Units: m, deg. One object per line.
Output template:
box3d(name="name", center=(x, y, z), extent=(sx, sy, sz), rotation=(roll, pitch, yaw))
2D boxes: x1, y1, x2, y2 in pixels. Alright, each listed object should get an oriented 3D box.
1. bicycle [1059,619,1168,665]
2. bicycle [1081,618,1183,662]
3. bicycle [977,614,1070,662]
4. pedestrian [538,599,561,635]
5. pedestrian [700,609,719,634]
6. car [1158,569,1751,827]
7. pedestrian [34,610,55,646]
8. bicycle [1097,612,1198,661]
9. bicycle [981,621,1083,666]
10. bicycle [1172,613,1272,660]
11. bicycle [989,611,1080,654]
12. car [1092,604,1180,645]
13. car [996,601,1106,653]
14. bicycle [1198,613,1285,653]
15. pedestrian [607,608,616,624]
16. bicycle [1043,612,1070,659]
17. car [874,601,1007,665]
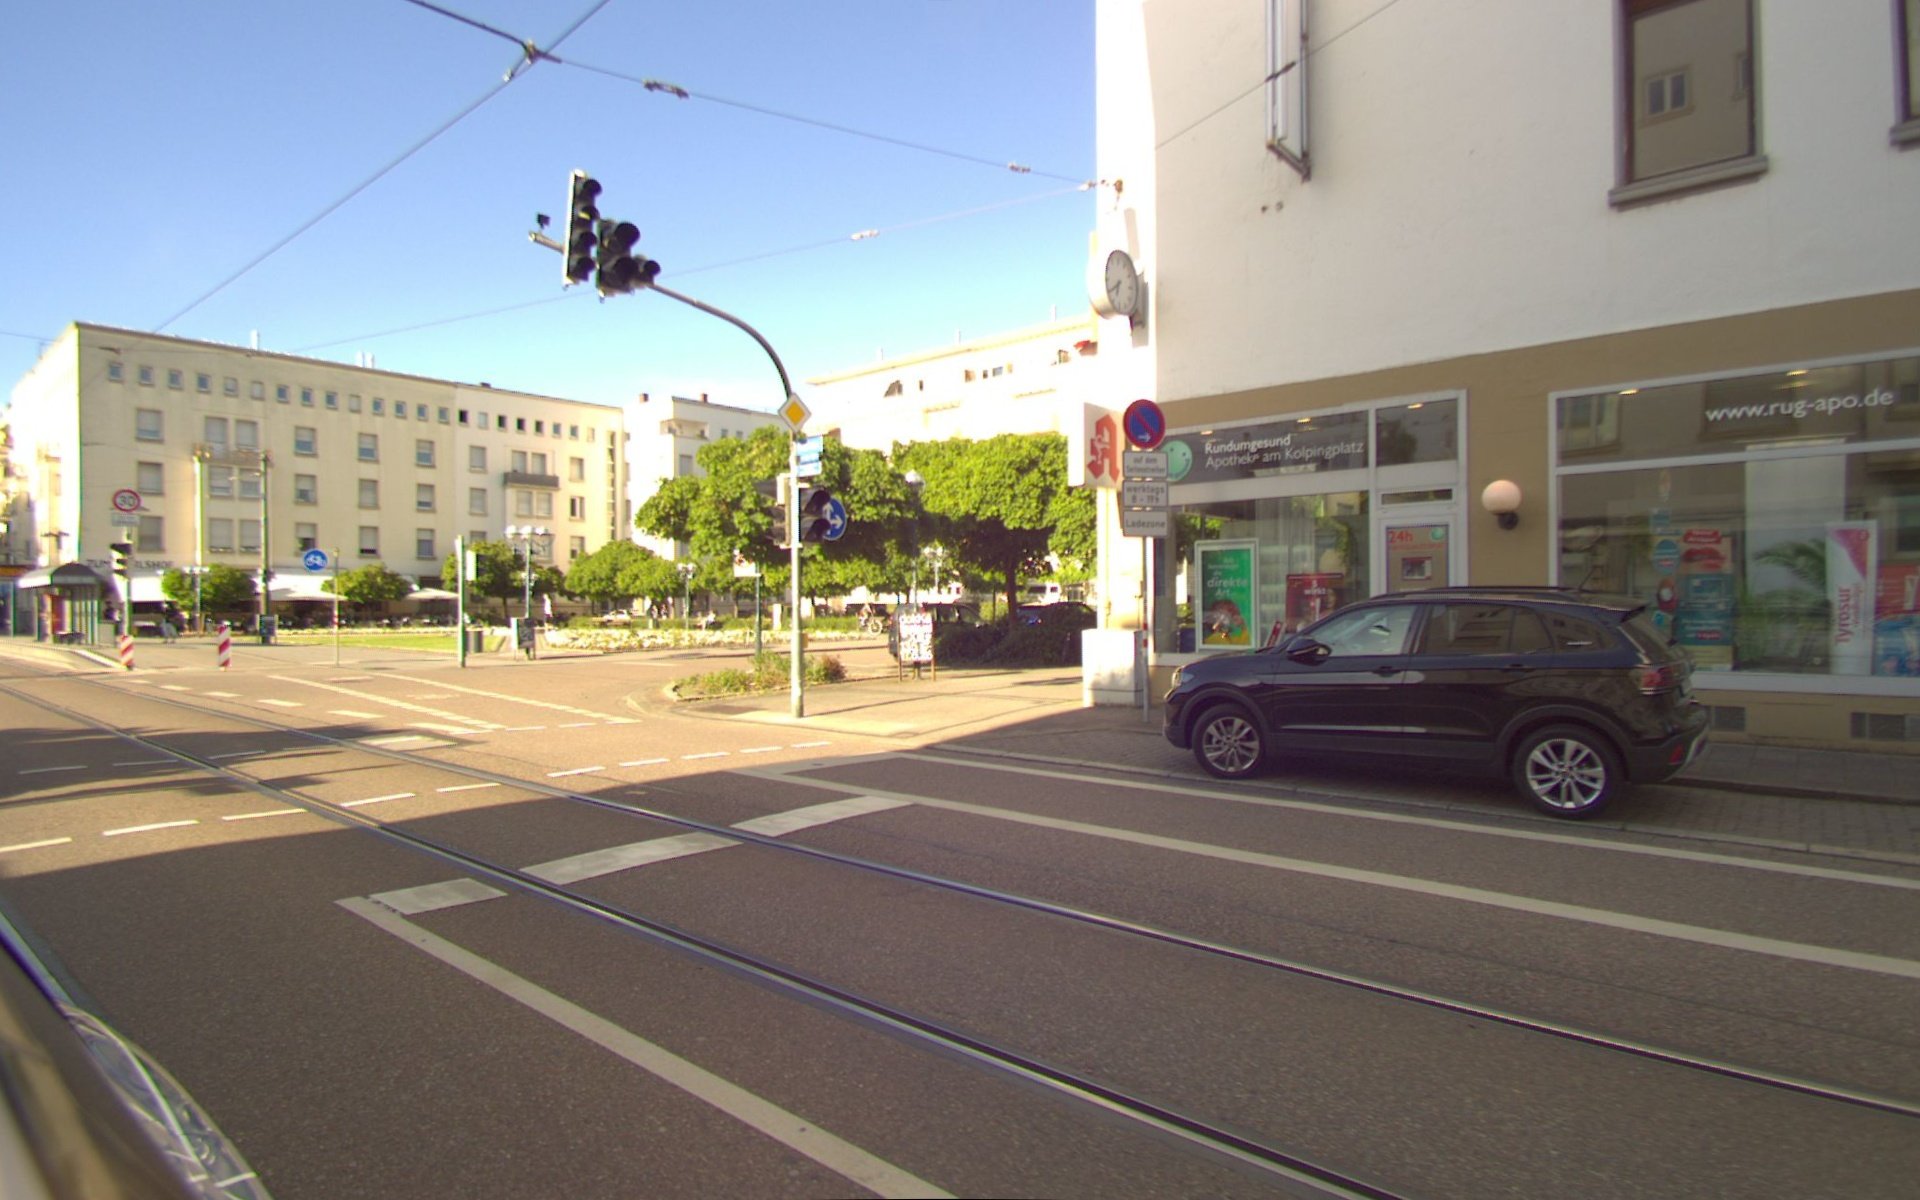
box3d(name="bicycle", center=(3.540, 0.957, 23.517), extent=(2.492, 0.995, 0.745), rotation=(-1, 0, 41))
box3d(name="bicycle", center=(4.058, 0.938, 24.100), extent=(2.436, 0.995, 0.620), rotation=(-1, 0, 41))
box3d(name="bicycle", center=(1.545, 0.909, 25.067), extent=(2.436, 1.133, 0.620), rotation=(-1, 0, 41))
box3d(name="pedestrian", center=(-19.431, 0.793, 47.898), extent=(0.826, 1.708, 0.668), rotation=(-1, 0, -4))
box3d(name="pedestrian", center=(-14.571, 1.219, 58.885), extent=(0.667, 1.428, 0.828), rotation=(-1, 0, 39))
box3d(name="car", center=(3.822, 0.604, 8.234), extent=(3.992, 1.564, 1.764), rotation=(-1, 2, 42))
box3d(name="pedestrian", center=(-39.024, 1.203, 43.124), extent=(0.609, 1.501, 0.545), rotation=(-1, 0, 35))
box3d(name="bicycle", center=(4.543, 0.865, 24.667), extent=(2.436, 1.133, 0.620), rotation=(-1, 0, 41))
box3d(name="bicycle", center=(1.680, 1.011, 23.975), extent=(2.493, 0.995, 0.745), rotation=(-1, 0, 42))
box3d(name="bicycle", center=(6.663, 0.915, 25.821), extent=(2.433, 1.133, 0.620), rotation=(-1, 0, 38))
box3d(name="bicycle", center=(2.039, 0.885, 27.742), extent=(2.398, 1.133, 0.629), rotation=(-1, 0, -10))
box3d(name="car", center=(6.853, 0.920, 39.202), extent=(1.621, 1.460, 3.939), rotation=(-1, 0, 40))
box3d(name="car", center=(3.105, 0.878, 34.041), extent=(1.757, 1.628, 3.939), rotation=(-1, 0, 40))
box3d(name="bicycle", center=(7.720, 0.888, 27.850), extent=(2.226, 1.057, 0.620), rotation=(-1, 0, 38))
box3d(name="pedestrian", center=(-26.499, 1.232, 76.955), extent=(0.499, 1.231, 0.396), rotation=(0, -1, -43))
box3d(name="bicycle", center=(2.479, 0.888, 26.188), extent=(0.620, 1.133, 2.434), rotation=(-1, 0, 4))
box3d(name="car", center=(-0.506, 0.905, 29.367), extent=(1.676, 1.723, 3.938), rotation=(-1, 0, 41))
